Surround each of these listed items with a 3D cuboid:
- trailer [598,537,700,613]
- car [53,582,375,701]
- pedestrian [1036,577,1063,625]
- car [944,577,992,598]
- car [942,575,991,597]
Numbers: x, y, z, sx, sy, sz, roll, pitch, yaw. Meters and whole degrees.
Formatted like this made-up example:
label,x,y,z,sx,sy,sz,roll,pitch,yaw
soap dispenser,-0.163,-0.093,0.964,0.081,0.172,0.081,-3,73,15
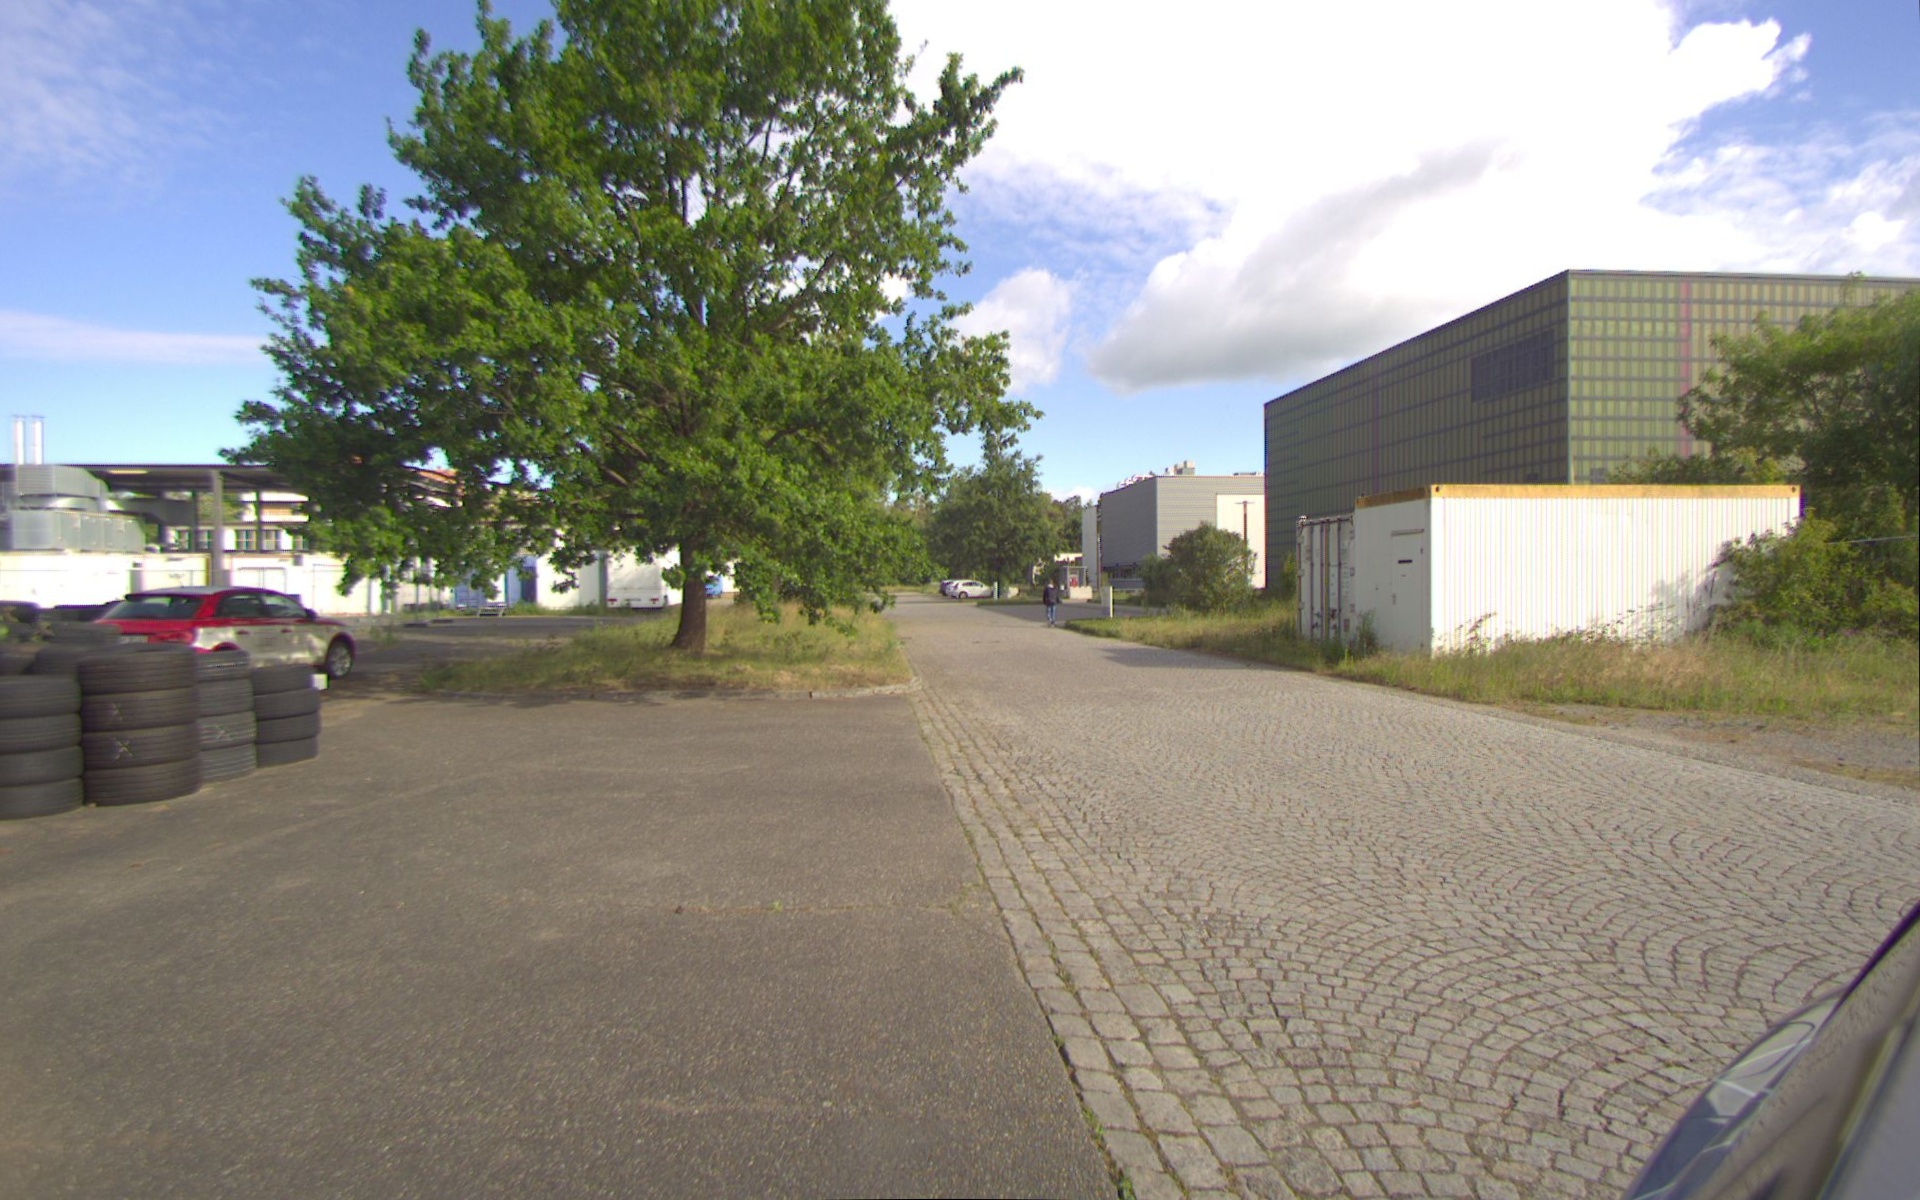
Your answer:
label,x,y,z,sx,sy,sz,roll,pitch,yaw
trailer,-15.839,-1.274,52.348,2.868,3.514,9.910,-1,1,-4
car,-10.484,0.484,14.653,1.695,1.482,4.000,0,1,1
pedestrian,3.028,0.019,34.271,0.852,1.578,1.027,-1,1,5
car,0.657,-1.039,84.382,3.924,1.663,2.000,0,1,0
car,0.521,-1.143,81.712,3.924,1.663,2.000,0,1,0
